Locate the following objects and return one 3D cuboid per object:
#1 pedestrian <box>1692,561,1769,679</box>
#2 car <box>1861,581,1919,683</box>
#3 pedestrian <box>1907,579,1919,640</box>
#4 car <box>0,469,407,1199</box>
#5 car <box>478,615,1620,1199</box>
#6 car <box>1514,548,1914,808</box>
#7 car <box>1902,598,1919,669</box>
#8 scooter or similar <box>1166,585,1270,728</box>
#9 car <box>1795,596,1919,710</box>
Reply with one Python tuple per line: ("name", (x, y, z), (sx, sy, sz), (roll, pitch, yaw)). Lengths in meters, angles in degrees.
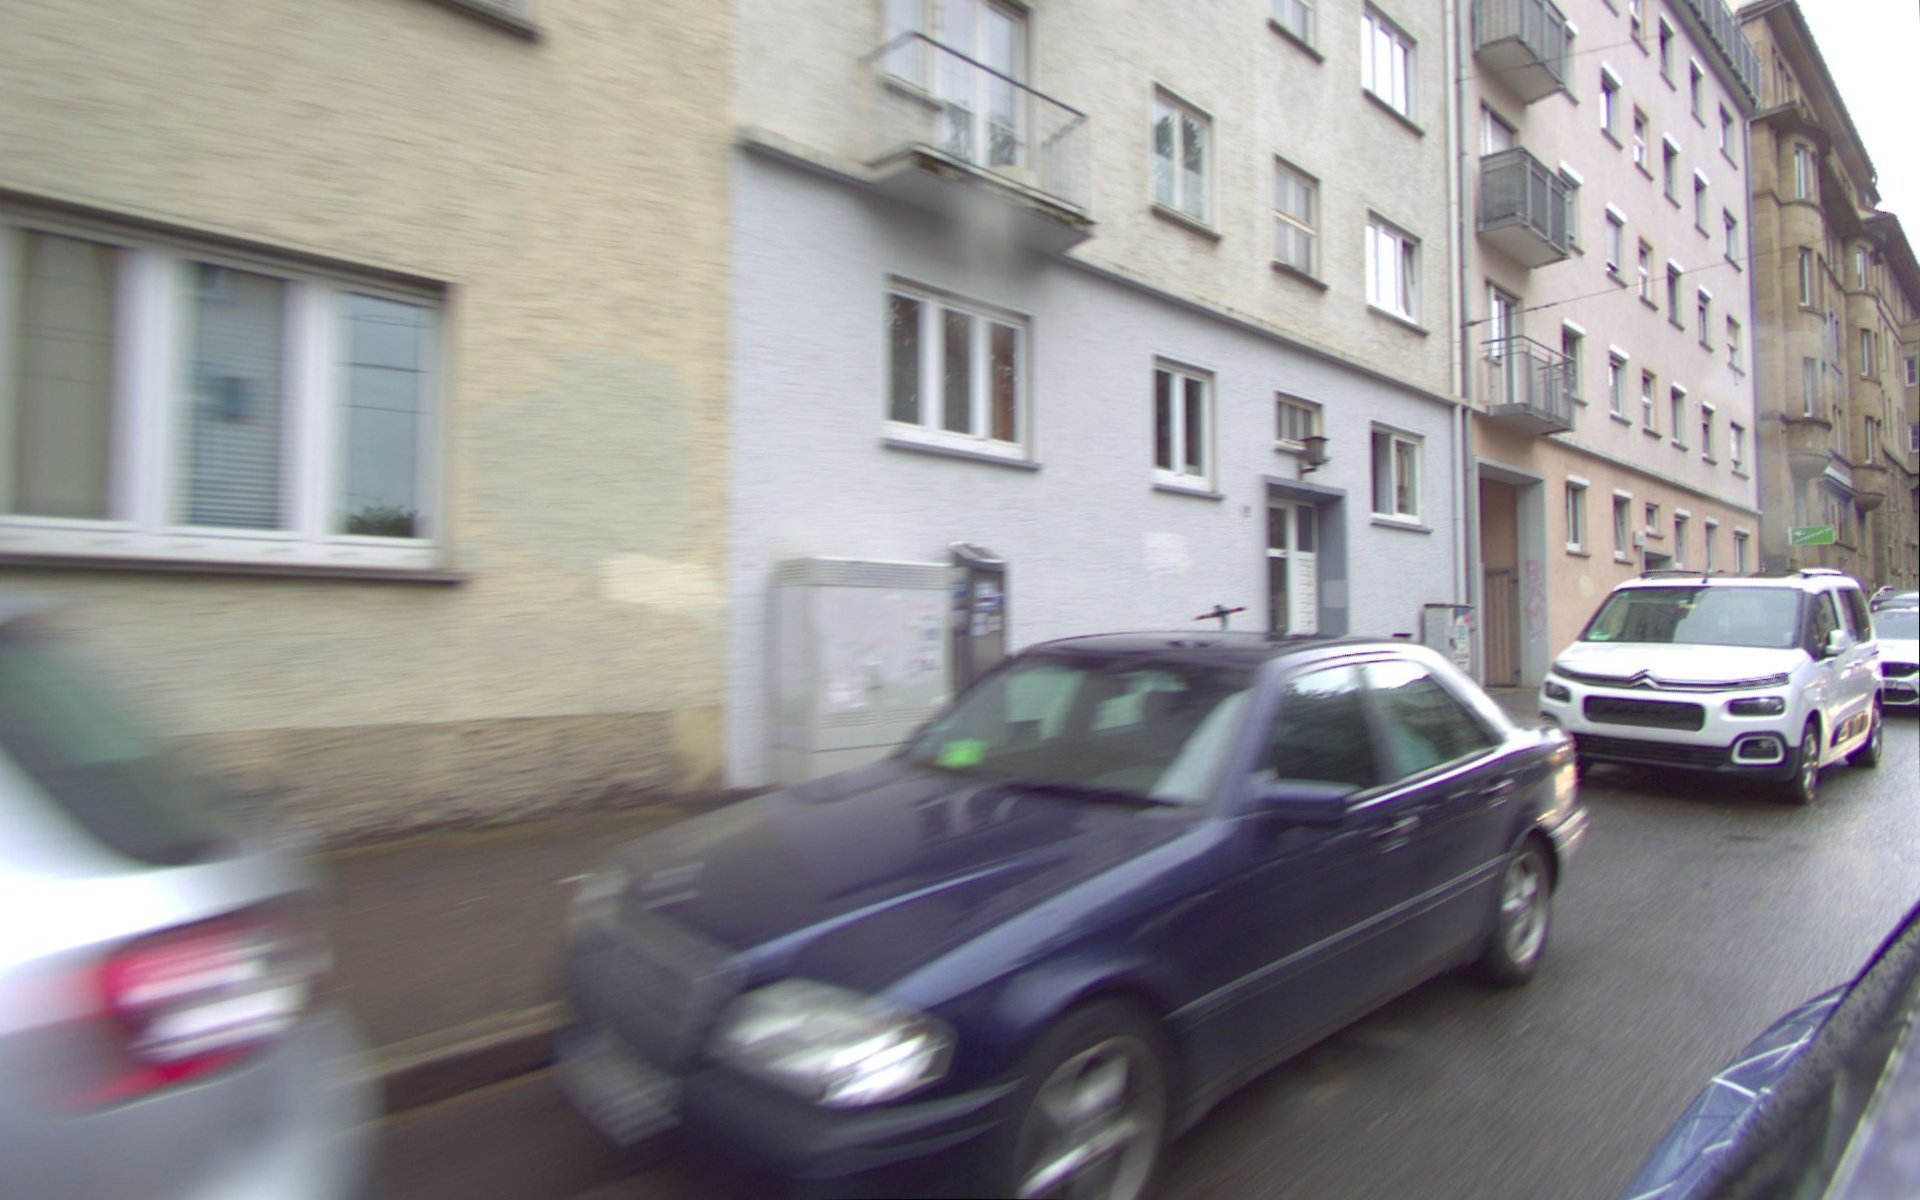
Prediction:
("pedestrian", (12.638, 0.303, 16.605), (1.020, 1.856, 0.747), (1, 1, -39))
("car", (18.409, 0.563, 18.973), (4.139, 1.787, 1.793), (0, 0, -41))
("pedestrian", (28.576, 0.281, 30.028), (0.676, 1.785, 0.608), (0, 0, -41))
("car", (-2.758, 0.652, 0.702), (3.929, 1.549, 1.696), (0, -1, -40))
("car", (0.776, 0.776, 3.795), (4.384, 1.364, 1.720), (0, -1, -41))
("car", (6.845, 0.538, 9.015), (4.386, 1.773, 1.832), (0, -1, -39))
("car", (21.807, 0.693, 21.975), (3.536, 1.480, 1.573), (0, 0, -40))
("scooter or similar", (2.513, 0.520, 9.817), (1.150, 1.314, 0.388), (0, -1, -40))
("car", (14.016, 0.693, 14.963), (4.818, 1.474, 1.874), (0, -1, -42))
